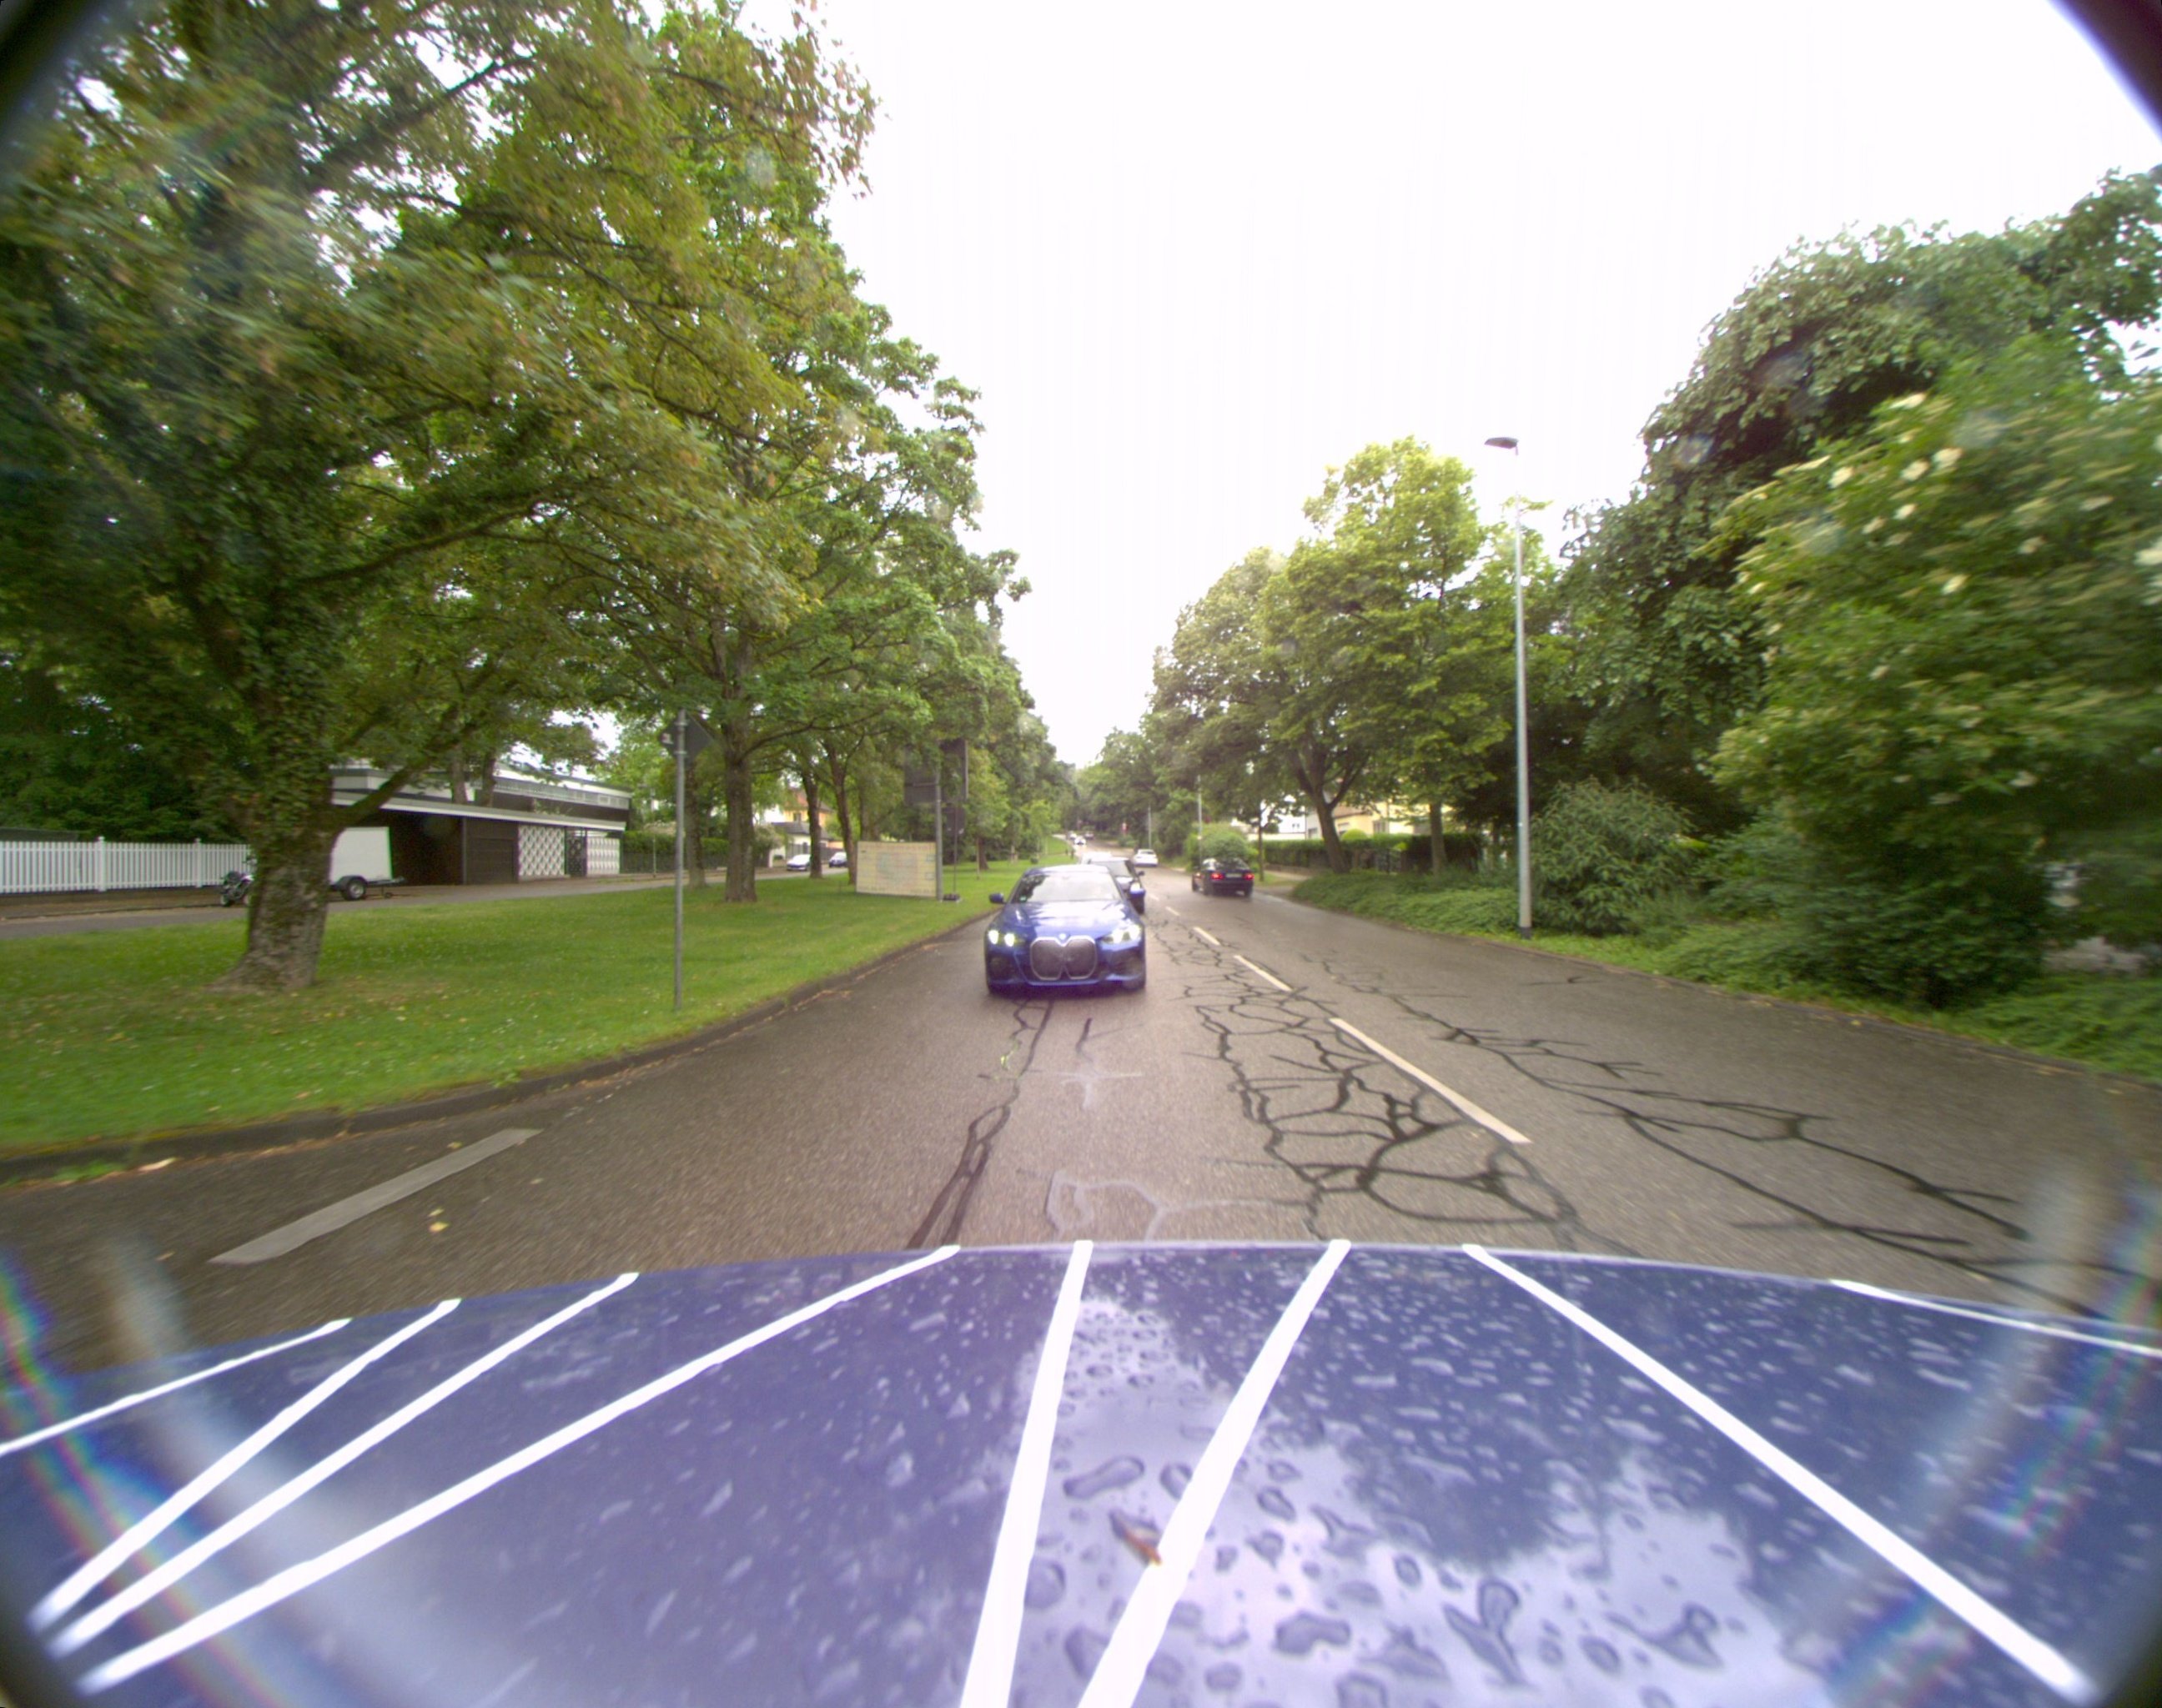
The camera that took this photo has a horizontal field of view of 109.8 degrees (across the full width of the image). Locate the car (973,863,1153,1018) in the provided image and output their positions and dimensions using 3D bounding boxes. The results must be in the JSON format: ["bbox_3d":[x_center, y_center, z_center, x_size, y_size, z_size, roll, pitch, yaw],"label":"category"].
[{"bbox_3d":[-0.170,0.935,9.996,1.826,1.471,4.067,-2,1,1],"label":"car"}]

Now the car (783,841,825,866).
[{"bbox_3d":[-23.007,-0.072,63.171,1.998,2.002,4.000,0,0,1],"label":"car"}]

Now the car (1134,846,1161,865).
[{"bbox_3d":[5.375,0.087,61.807,1.826,1.471,4.066,0,1,0],"label":"car"}]

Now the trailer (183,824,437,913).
[{"bbox_3d":[-21.117,0.334,21.246,1.771,2.104,5.191,-2,1,-1],"label":"trailer"}]

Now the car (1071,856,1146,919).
[{"bbox_3d":[0.718,0.844,21.284,1.826,1.471,4.067,-2,1,1],"label":"car"}]

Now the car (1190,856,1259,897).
[{"bbox_3d":[5.280,0.797,28.533,1.769,1.341,4.376,1,1,0],"label":"car"}]

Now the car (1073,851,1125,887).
[{"bbox_3d":[0.765,0.637,34.659,2.032,1.471,4.066,-2,1,-3],"label":"car"}]
